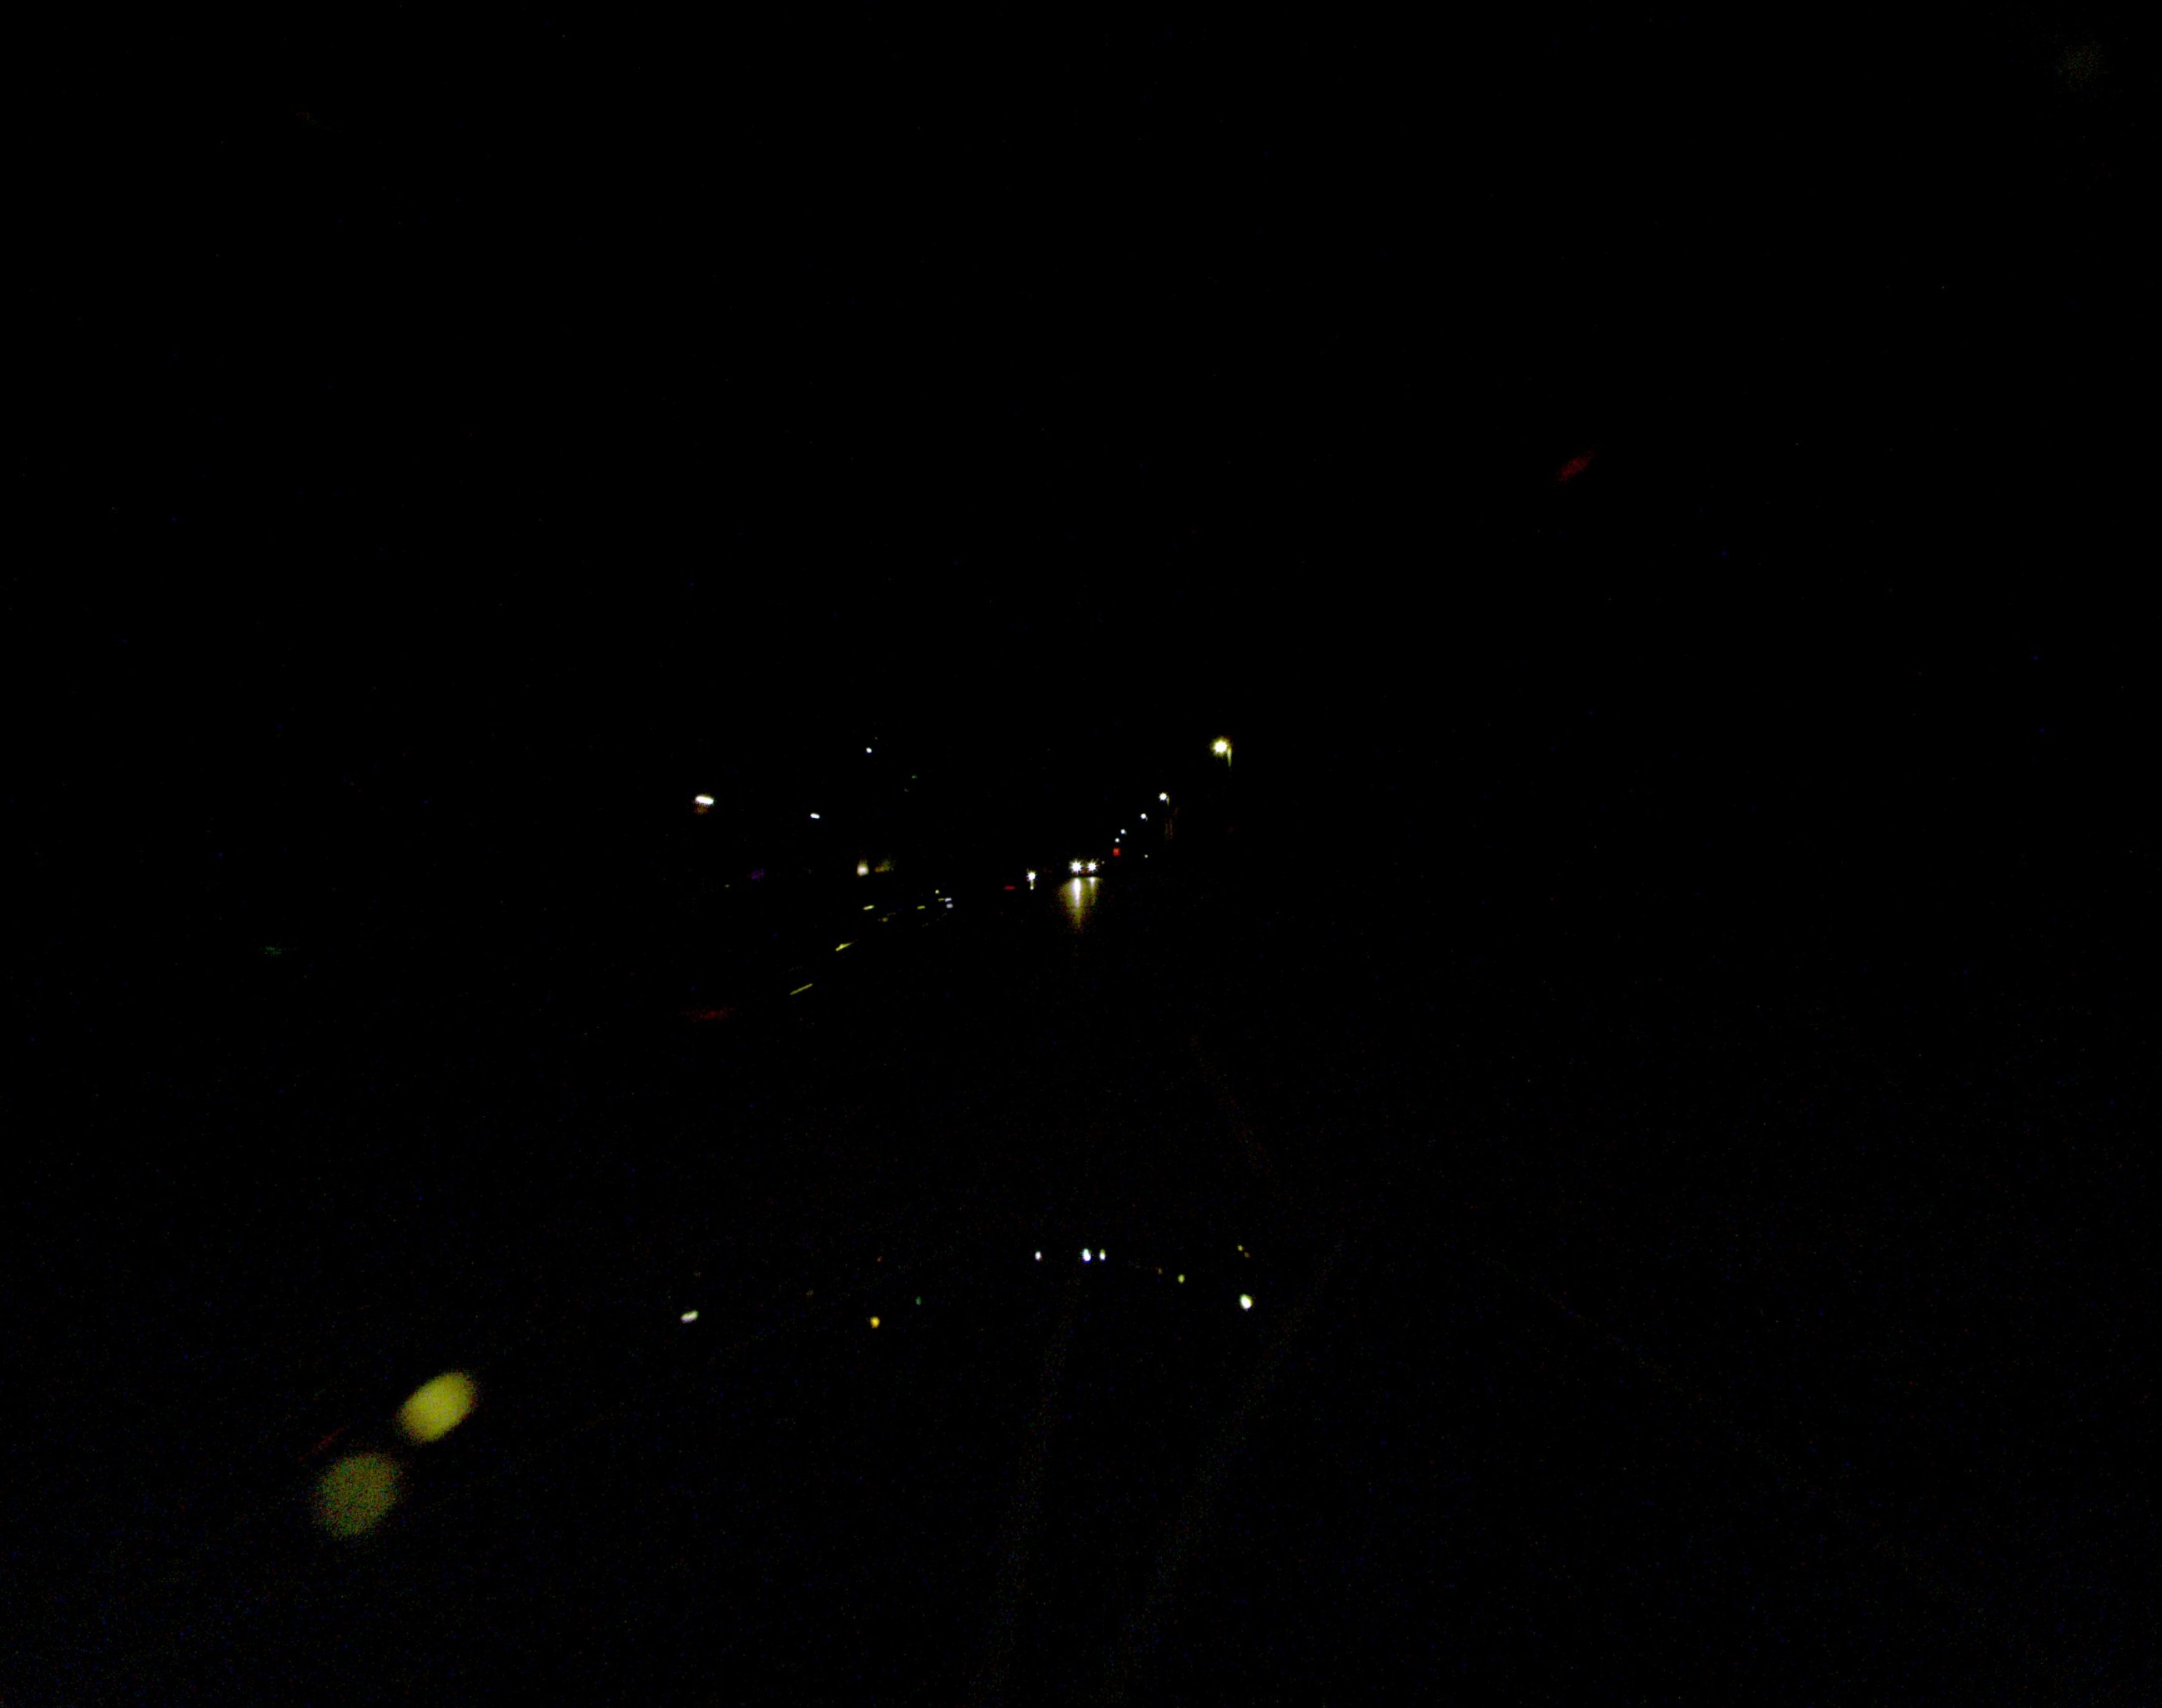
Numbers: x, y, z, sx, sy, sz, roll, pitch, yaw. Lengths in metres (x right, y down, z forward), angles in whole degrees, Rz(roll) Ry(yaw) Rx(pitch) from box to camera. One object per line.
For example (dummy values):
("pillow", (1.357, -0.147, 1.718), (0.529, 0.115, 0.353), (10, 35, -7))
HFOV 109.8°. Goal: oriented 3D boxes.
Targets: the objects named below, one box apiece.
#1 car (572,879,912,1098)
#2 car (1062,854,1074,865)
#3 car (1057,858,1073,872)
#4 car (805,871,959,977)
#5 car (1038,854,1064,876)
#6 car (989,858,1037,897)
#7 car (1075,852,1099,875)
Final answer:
("car", (-2.988, 1.080, 7.717), (1.681, 1.439, 3.999), (-2, 0, -1))
("car", (-1.866, 0.836, 113.456), (1.702, 1.447, 3.713), (-2, 0, 0))
("car", (-1.802, 1.217, 84.762), (1.702, 1.447, 3.713), (-2, 0, 0))
("car", (-3.209, 1.073, 12.955), (1.604, 1.390, 3.517), (-2, 0, 1))
("car", (-2.126, 0.735, 54.564), (1.702, 1.447, 3.713), (-2, 0, 0))
("car", (-2.786, 0.947, 31.919), (1.656, 1.465, 3.517), (-2, 0, 0))
("car", (0.393, 0.652, 53.898), (1.627, 1.496, 3.549), (-2, 0, 0))
